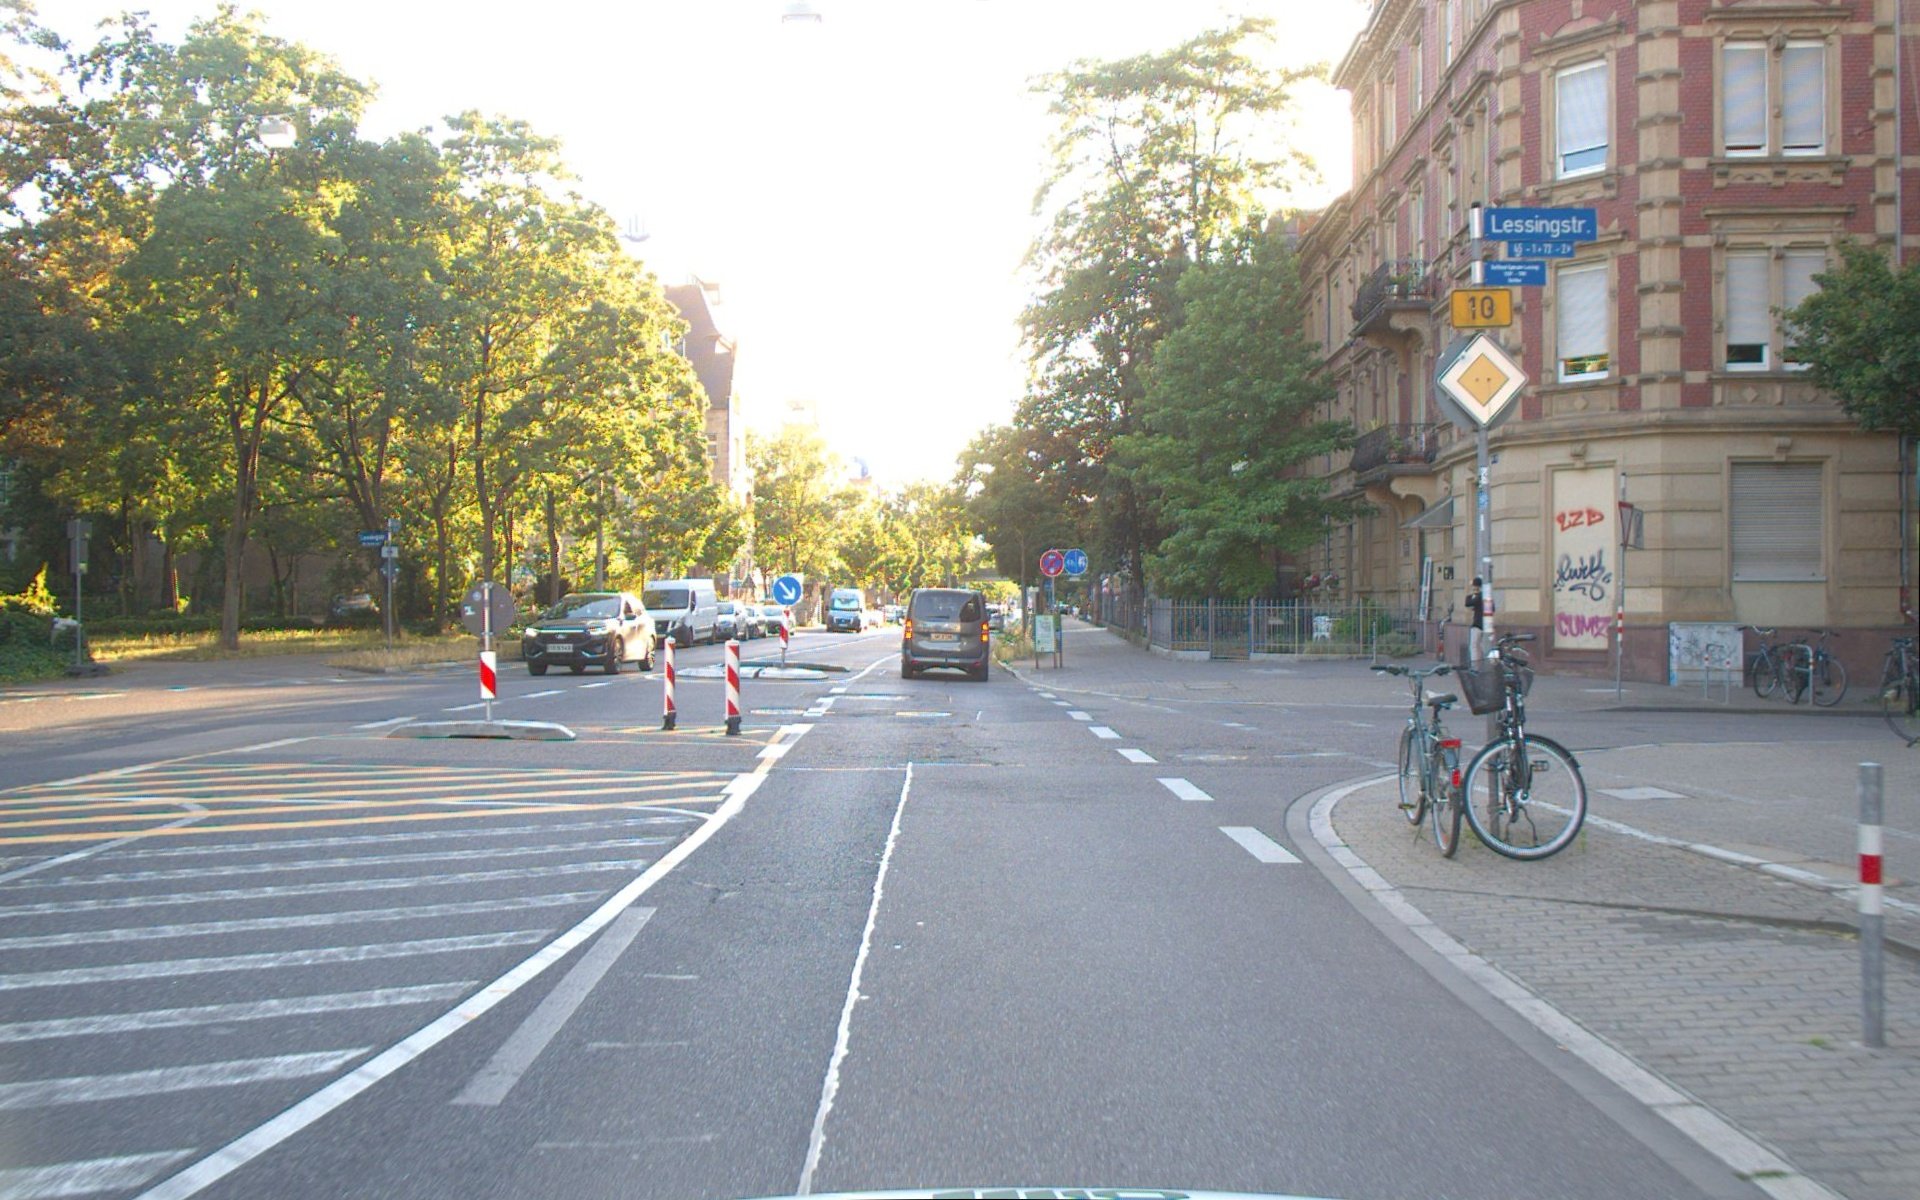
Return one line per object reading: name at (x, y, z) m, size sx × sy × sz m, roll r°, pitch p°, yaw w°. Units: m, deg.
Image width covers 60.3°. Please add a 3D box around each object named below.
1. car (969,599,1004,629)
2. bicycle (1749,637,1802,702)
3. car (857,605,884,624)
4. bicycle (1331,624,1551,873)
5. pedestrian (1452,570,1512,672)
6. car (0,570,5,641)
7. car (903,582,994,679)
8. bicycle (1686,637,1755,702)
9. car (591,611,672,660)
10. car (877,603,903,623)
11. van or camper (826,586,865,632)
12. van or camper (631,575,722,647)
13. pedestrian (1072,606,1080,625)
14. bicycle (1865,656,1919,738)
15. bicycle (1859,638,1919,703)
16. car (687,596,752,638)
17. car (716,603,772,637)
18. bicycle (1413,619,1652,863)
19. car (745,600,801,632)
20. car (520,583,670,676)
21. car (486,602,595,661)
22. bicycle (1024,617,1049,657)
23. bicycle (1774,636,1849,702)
car at (1.557, 0.766, 94.543) m, size 1.952 × 1.662 × 4.001 m, roll 0°, pitch 0°, yaw 2°
bicycle at (12.207, 1.021, 24.772) m, size 0.288 × 0.831 × 1.499 m, roll 2°, pitch 3°, yaw 11°
car at (-6.222, 1.005, 115.681) m, size 1.504 × 1.270 × 3.615 m, roll 2°, pitch 0°, yaw 2°
bicycle at (2.889, 0.841, 10.193) m, size 0.554 × 1.322 × 2.264 m, roll -4°, pitch -1°, yaw -1°
pedestrian at (9.539, 0.375, 30.234) m, size 0.730 × 1.809 × 0.831 m, roll -3°, pitch 0°, yaw -1°
car at (-36.410, 0.188, 57.397) m, size 2.228 × 2.529 × 5.213 m, roll 0°, pitch 0°, yaw 36°
car at (-0.240, 0.619, 35.807) m, size 1.849 × 1.958 × 3.839 m, roll -1°, pitch 0°, yaw 0°
bicycle at (11.394, 1.026, 24.817) m, size 0.285 × 0.831 × 1.498 m, roll 2°, pitch 3°, yaw -1°
car at (-10.546, 1.102, 53.404) m, size 1.594 × 1.454 × 4.243 m, roll -1°, pitch 0°, yaw 2°
car at (-5.485, 1.003, 130.518) m, size 1.661 × 1.477 × 4.001 m, roll 2°, pitch 0°, yaw 2°
van or camper at (-6.963, 0.536, 101.293) m, size 1.953 × 2.715 × 6.037 m, roll 2°, pitch 0°, yaw -1°
van or camper at (-10.431, 0.381, 61.345) m, size 2.047 × 2.511 × 6.307 m, roll -1°, pitch 0°, yaw 2°
pedestrian at (10.090, 1.323, 144.094) m, size 0.631 × 1.661 × 0.656 m, roll 2°, pitch 0°, yaw 3°
bicycle at (9.944, 1.006, 17.237) m, size 0.288 × 0.831 × 1.736 m, roll 1°, pitch -2°, yaw 8°
bicycle at (14.158, 1.059, 24.982) m, size 0.288 × 0.831 × 1.498 m, roll 2°, pitch 3°, yaw -1°
car at (-9.949, 0.693, 68.695) m, size 1.827 × 1.673 × 4.572 m, roll -1°, pitch 0°, yaw 3°
car at (-9.671, 0.854, 74.235) m, size 1.700 × 1.471 × 4.627 m, roll 0°, pitch 0°, yaw 3°
bicycle at (3.455, 0.803, 10.218) m, size 0.554 × 1.297 × 2.264 m, roll -4°, pitch -1°, yaw -1°
car at (-9.095, 0.758, 80.873) m, size 1.952 × 1.509 × 4.831 m, roll 0°, pitch 0°, yaw 3°
car at (-7.558, 0.583, 34.689) m, size 1.837 × 1.735 × 4.569 m, roll -3°, pitch 0°, yaw 3°
car at (-11.457, 0.833, 45.473) m, size 1.589 × 1.533 × 4.546 m, roll 0°, pitch 0°, yaw 3°
bicycle at (2.391, 1.163, 52.077) m, size 0.633 × 1.187 × 1.930 m, roll 2°, pitch 0°, yaw -1°
bicycle at (12.659, 1.011, 24.620) m, size 0.288 × 0.831 × 1.498 m, roll 2°, pitch 3°, yaw -1°
